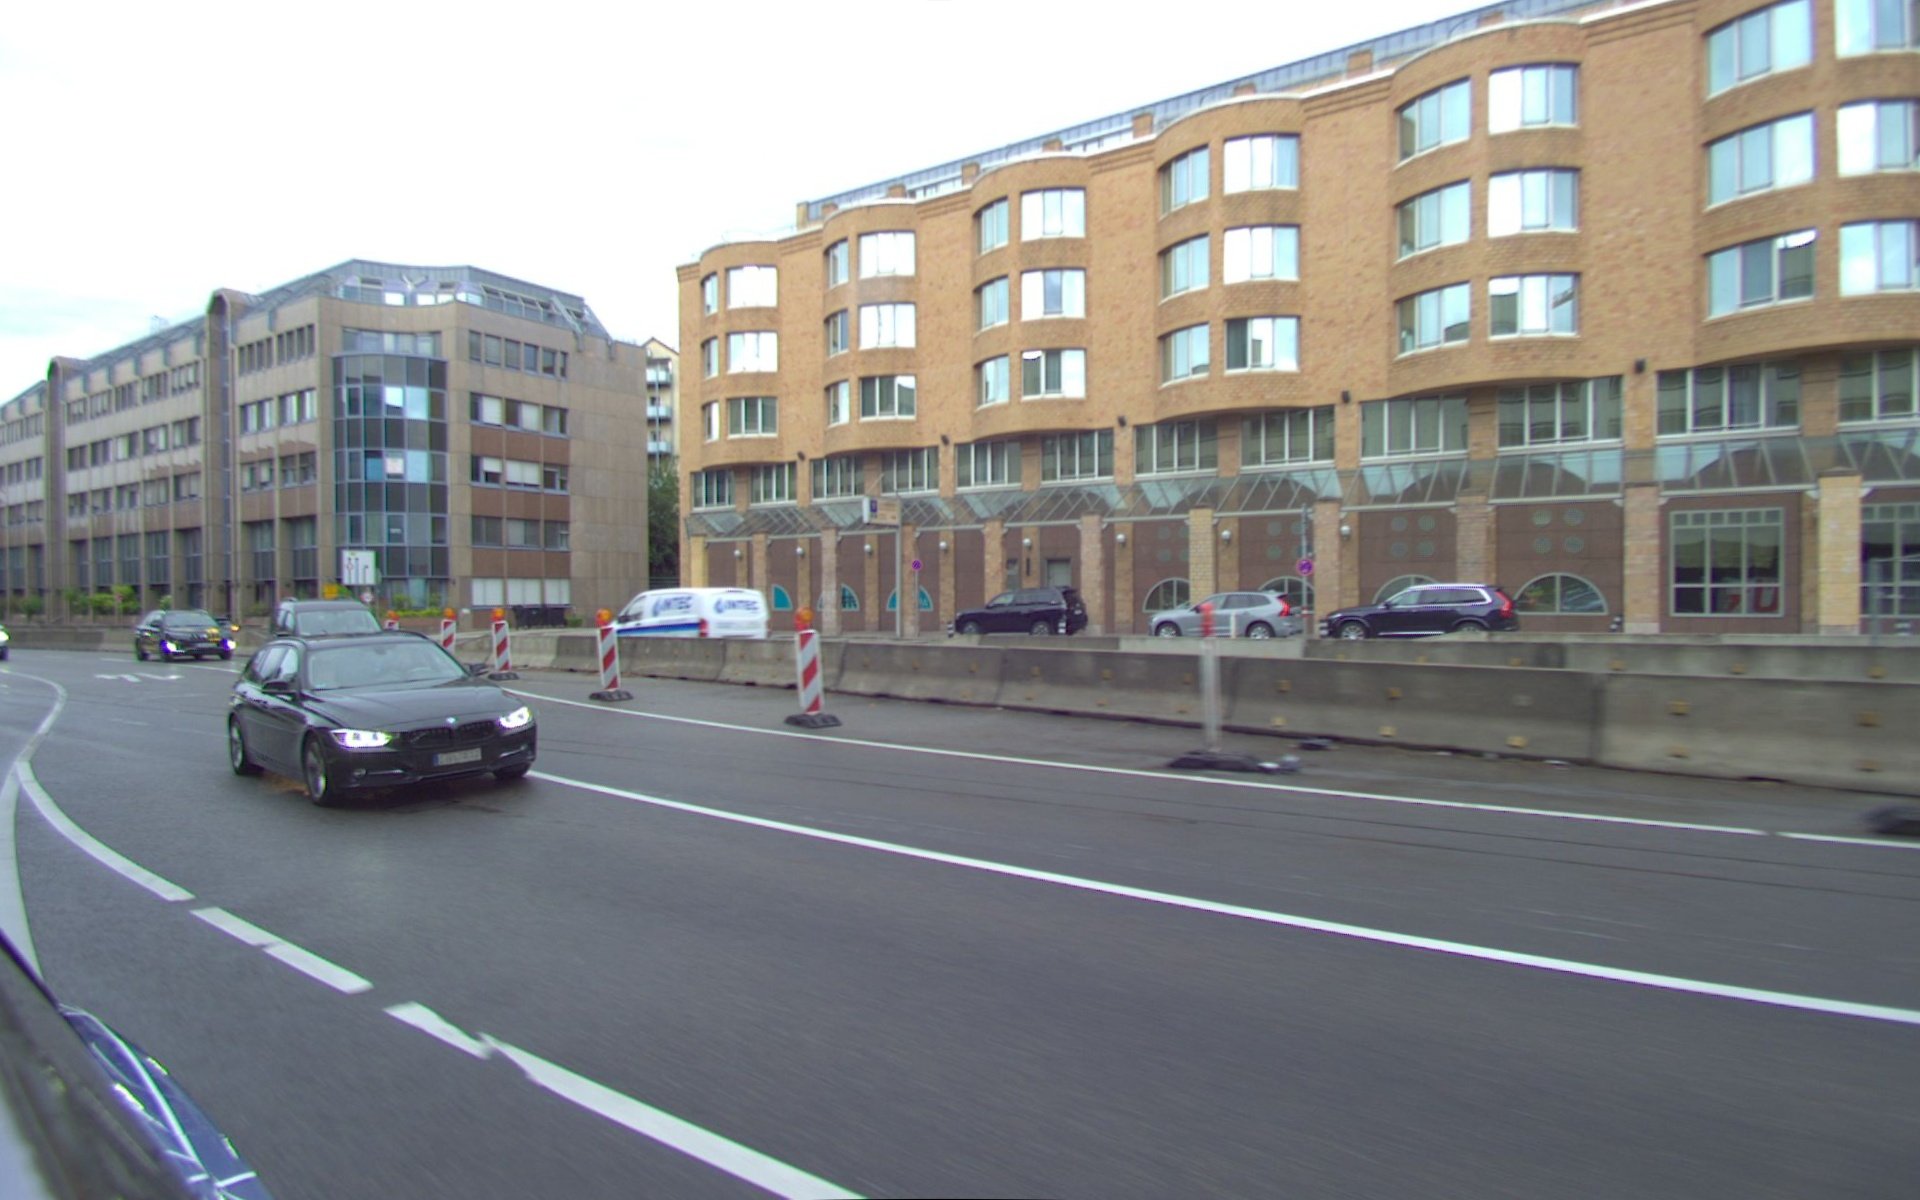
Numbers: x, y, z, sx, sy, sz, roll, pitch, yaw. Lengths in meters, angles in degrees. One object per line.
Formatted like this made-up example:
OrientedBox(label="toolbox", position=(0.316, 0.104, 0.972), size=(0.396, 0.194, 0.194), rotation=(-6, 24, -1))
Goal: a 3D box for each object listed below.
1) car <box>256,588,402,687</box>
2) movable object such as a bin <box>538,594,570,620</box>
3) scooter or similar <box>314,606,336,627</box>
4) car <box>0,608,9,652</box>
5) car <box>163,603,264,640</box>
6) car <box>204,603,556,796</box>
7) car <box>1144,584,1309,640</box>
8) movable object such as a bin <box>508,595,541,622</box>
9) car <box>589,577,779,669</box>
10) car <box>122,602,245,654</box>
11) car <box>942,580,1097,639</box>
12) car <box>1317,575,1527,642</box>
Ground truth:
OrientedBox(label="car", position=(-13.209, 0.700, 21.065), size=(1.773, 1.814, 4.255), rotation=(-2, 1, -43))
OrientedBox(label="movable object such as a bin", position=(-23.401, 0.401, 58.359), size=(1.349, 1.491, 1.230), rotation=(-1, 0, 41))
OrientedBox(label="scooter or similar", position=(-32.564, 0.829, 51.891), size=(1.038, 1.071, 0.447), rotation=(-1, 0, 23))
OrientedBox(label="car", position=(-36.201, 1.100, 36.491), size=(4.643, 1.545, 1.754), rotation=(-1, 1, 33))
OrientedBox(label="car", position=(-31.718, 0.912, 42.976), size=(4.212, 1.470, 1.980), rotation=(-1, 1, 31))
OrientedBox(label="car", position=(-5.934, 0.793, 10.066), size=(4.656, 1.454, 1.748), rotation=(-1, 1, 43))
OrientedBox(label="car", position=(8.138, 0.354, 31.023), size=(4.524, 1.606, 1.979), rotation=(-1, 0, 32))
OrientedBox(label="movable object such as a bin", position=(-24.521, 0.481, 56.939), size=(1.349, 1.491, 1.230), rotation=(-1, 0, 40))
OrientedBox(label="car", position=(-6.446, 0.478, 23.311), size=(4.871, 1.899, 1.971), rotation=(-1, 1, 44))
OrientedBox(label="car", position=(-24.674, 0.861, 32.121), size=(4.343, 1.545, 1.754), rotation=(-1, 1, 33))
OrientedBox(label="car", position=(2.017, 0.321, 34.792), size=(4.997, 1.900, 1.979), rotation=(-1, 0, 32))
OrientedBox(label="car", position=(12.704, 0.231, 27.975), size=(5.037, 1.703, 1.977), rotation=(-1, 0, 35))
